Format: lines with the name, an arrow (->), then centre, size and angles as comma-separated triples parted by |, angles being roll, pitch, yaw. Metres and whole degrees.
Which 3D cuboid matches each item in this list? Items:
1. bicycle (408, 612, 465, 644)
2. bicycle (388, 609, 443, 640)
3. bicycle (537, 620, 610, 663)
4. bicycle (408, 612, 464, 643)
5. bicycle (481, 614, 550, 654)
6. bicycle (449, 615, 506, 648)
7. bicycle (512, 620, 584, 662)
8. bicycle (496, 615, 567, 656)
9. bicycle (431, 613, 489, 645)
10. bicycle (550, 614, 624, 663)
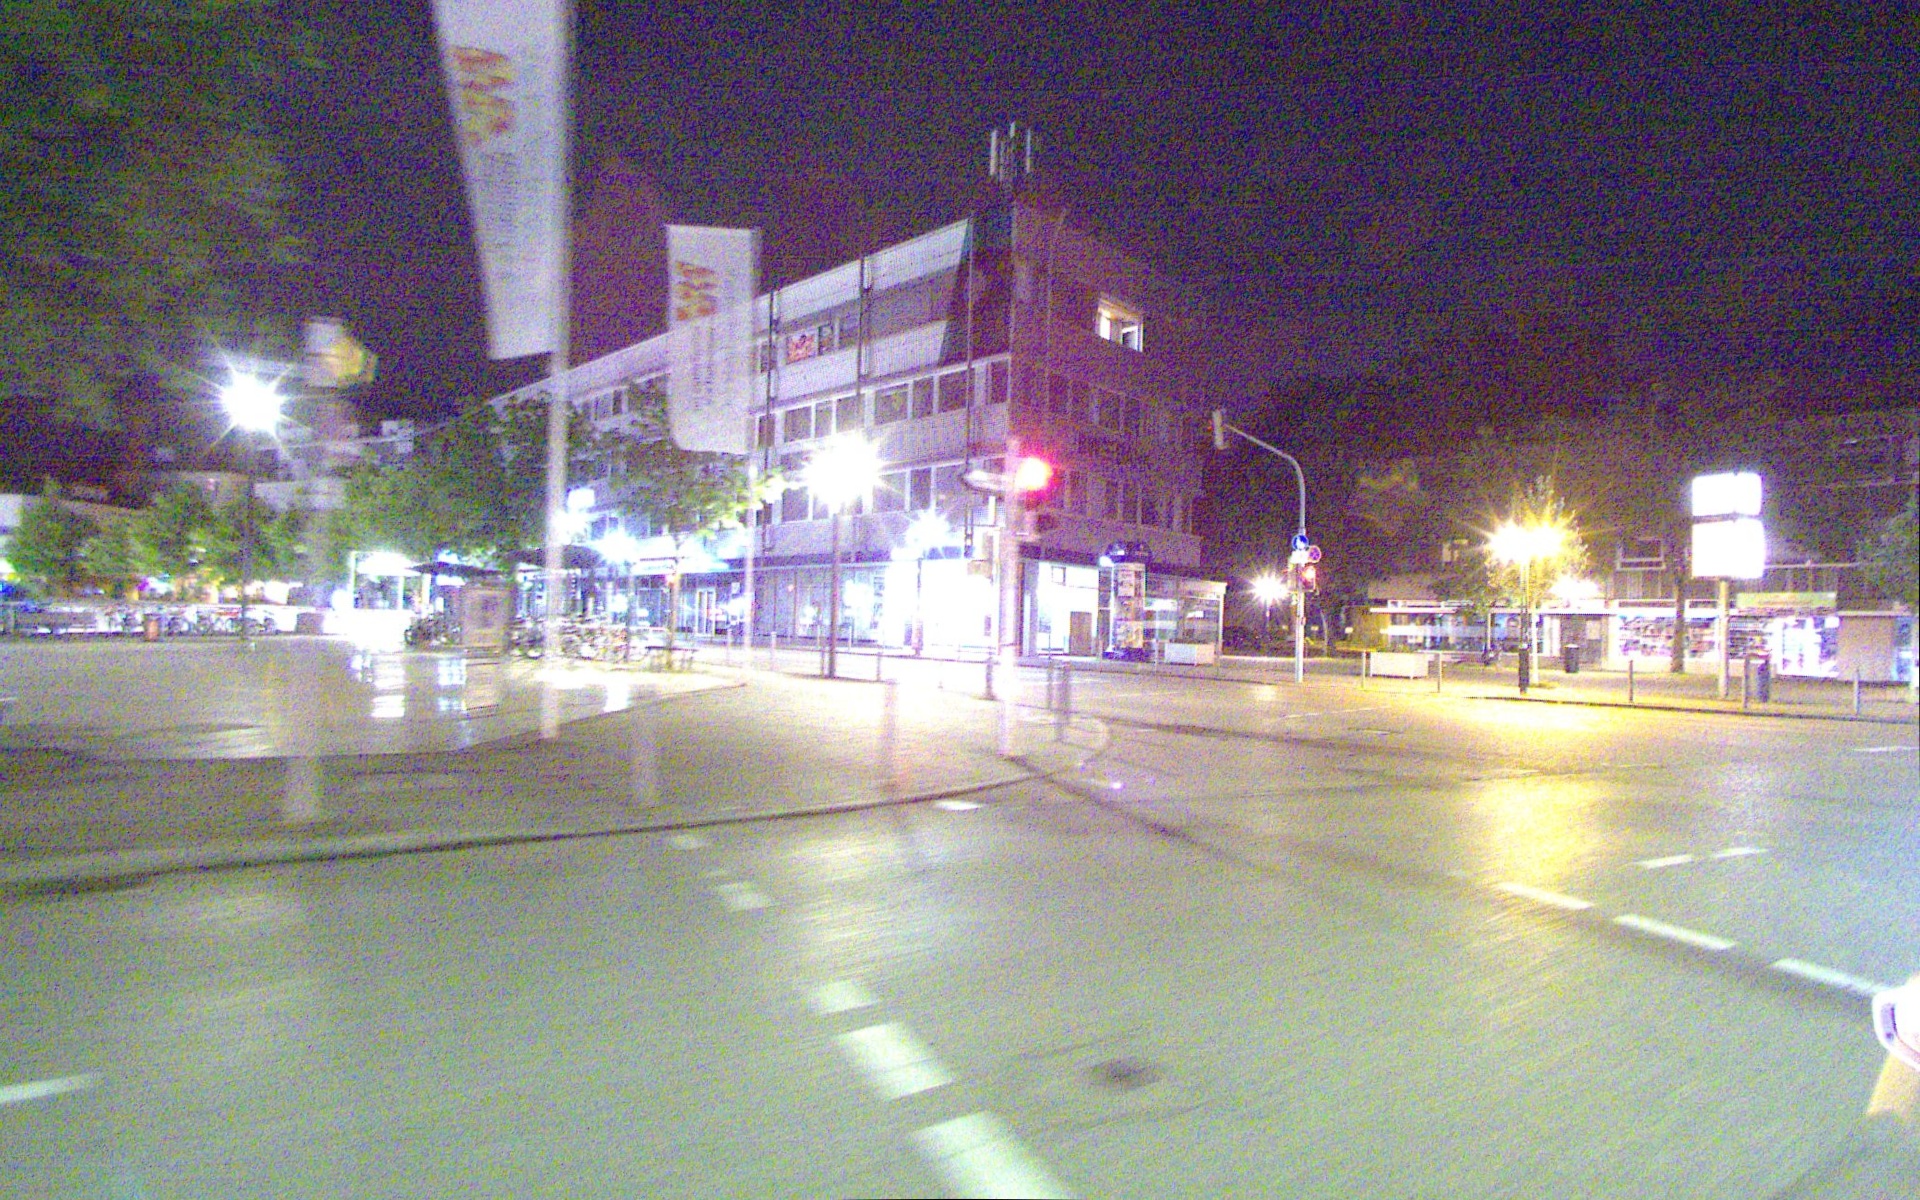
bicycle -> -16.741, 0.902, 32.142 | 1.524, 0.970, 0.474 | 2, 0, -44
bicycle -> -18.065, 0.816, 33.338 | 1.524, 0.970, 0.474 | 2, 0, -44
bicycle -> -9.066, 0.965, 23.610 | 1.524, 0.970, 0.440 | 2, 0, -44
bicycle -> -17.147, 0.918, 32.900 | 1.524, 0.970, 0.474 | 2, 0, -44
bicycle -> -11.322, 0.866, 25.616 | 1.524, 0.970, 0.474 | 2, 0, -44
bicycle -> -14.935, 0.983, 31.109 | 1.524, 0.970, 0.474 | 2, 0, -44
bicycle -> -9.930, 0.992, 24.261 | 1.524, 0.970, 0.474 | 2, 0, -44
bicycle -> -10.645, 0.886, 24.969 | 1.524, 0.970, 0.474 | 2, 0, -44
bicycle -> -15.683, 0.922, 31.531 | 1.524, 0.970, 0.474 | 2, 0, -44
bicycle -> -8.535, 0.880, 23.010 | 1.524, 1.068, 0.440 | 2, 0, -44
